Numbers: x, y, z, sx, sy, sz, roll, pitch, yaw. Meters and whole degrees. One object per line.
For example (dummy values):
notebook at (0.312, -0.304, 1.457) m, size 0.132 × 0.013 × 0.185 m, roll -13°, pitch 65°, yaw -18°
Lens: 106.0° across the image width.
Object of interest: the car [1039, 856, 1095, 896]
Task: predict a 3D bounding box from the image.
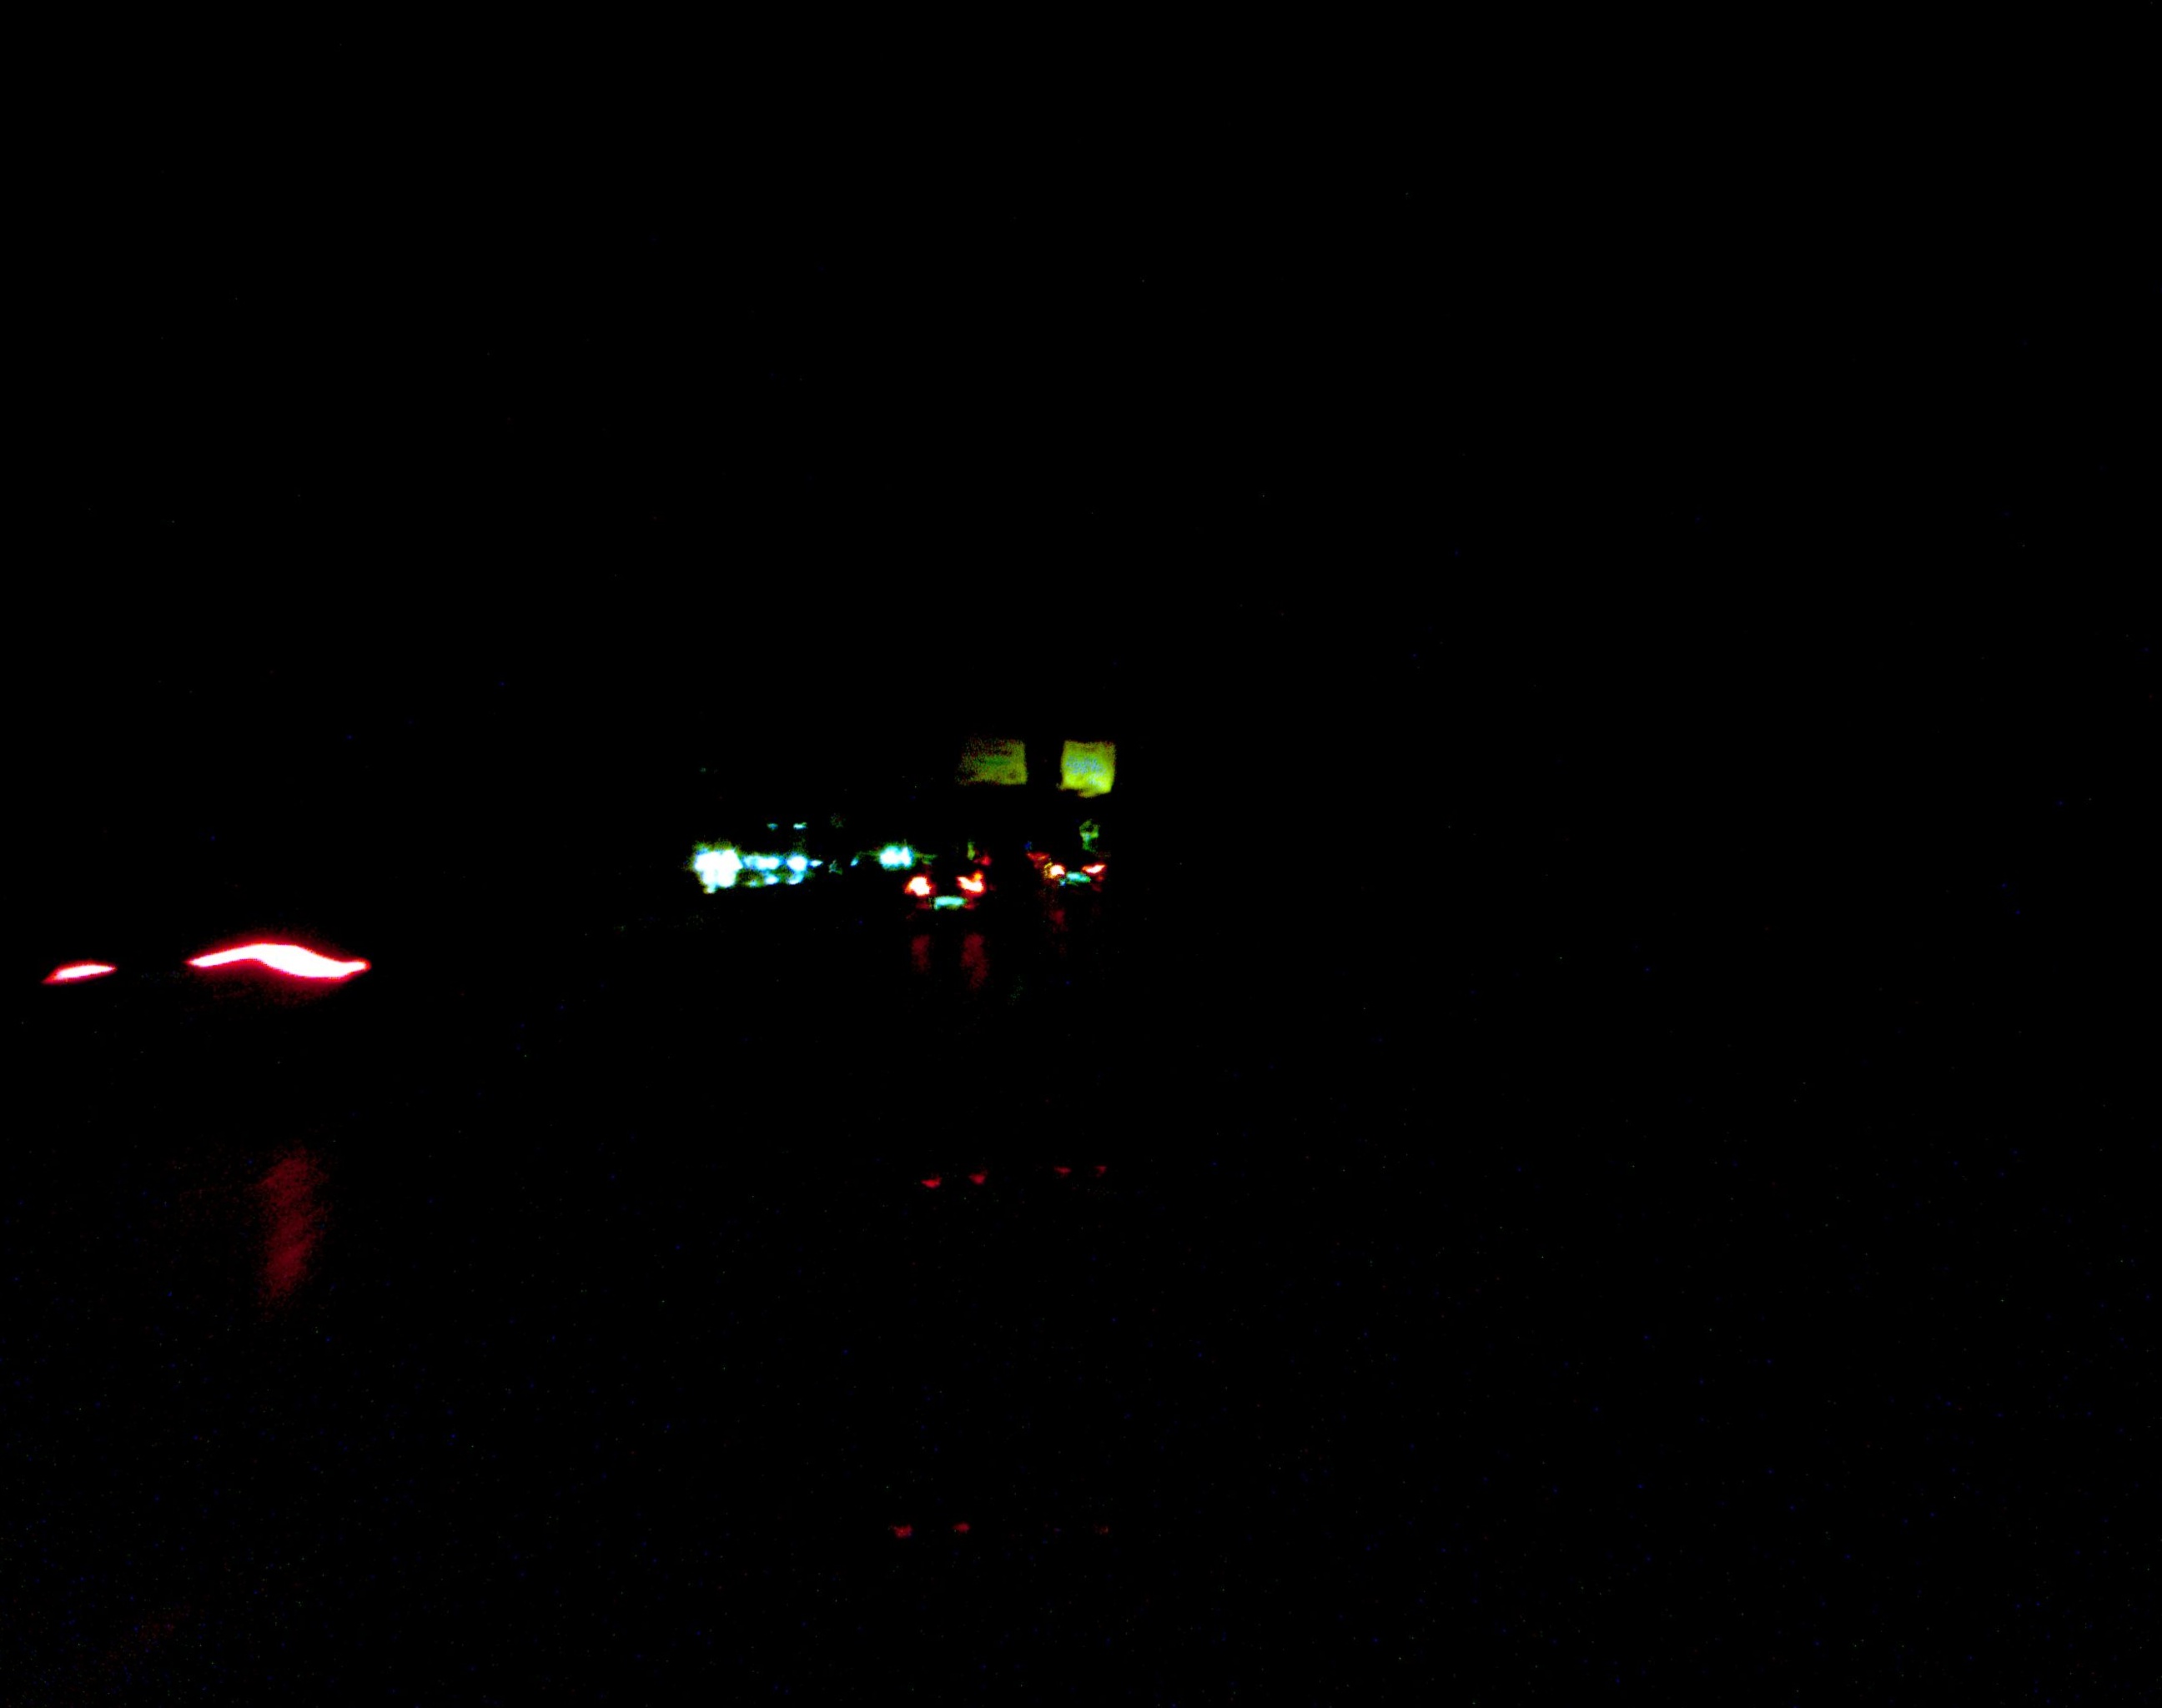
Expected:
car at (-0.466, 0.816, 31.064) m, size 1.955 × 1.380 × 4.049 m, roll 1°, pitch -1°, yaw 1°

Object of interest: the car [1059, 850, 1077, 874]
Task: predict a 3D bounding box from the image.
car at (-1.112, 0.693, 71.386) m, size 1.548 × 2.014 × 4.000 m, roll 0°, pitch 0°, yaw 0°

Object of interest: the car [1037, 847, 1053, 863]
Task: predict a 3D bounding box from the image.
car at (-4.699, 0.205, 106.670) m, size 1.987 × 2.014 × 3.998 m, roll 0°, pitch -1°, yaw -1°

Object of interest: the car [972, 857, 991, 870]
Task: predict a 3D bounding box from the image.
car at (-12.399, 1.188, 101.695) m, size 1.889 × 1.545 × 3.999 m, roll 0°, pitch -1°, yaw 0°

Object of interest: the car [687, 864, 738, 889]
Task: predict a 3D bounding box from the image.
car at (-25.634, 1.548, 56.791) m, size 1.991 × 1.728 × 3.991 m, roll 0°, pitch -1°, yaw -6°

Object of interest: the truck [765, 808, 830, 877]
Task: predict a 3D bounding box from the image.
truck at (-19.070, -0.681, 55.172) m, size 2.559 × 4.404 × 5.842 m, roll 1°, pitch -1°, yaw -4°

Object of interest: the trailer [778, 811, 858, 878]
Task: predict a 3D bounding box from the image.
trailer at (-19.485, -0.539, 61.246) m, size 2.570 × 4.457 × 12.474 m, roll 1°, pitch -1°, yaw -4°

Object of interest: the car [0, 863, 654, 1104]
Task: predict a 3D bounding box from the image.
car at (-6.232, 0.849, 7.650) m, size 1.762 × 1.517 × 4.915 m, roll 0°, pitch -1°, yaw 1°
